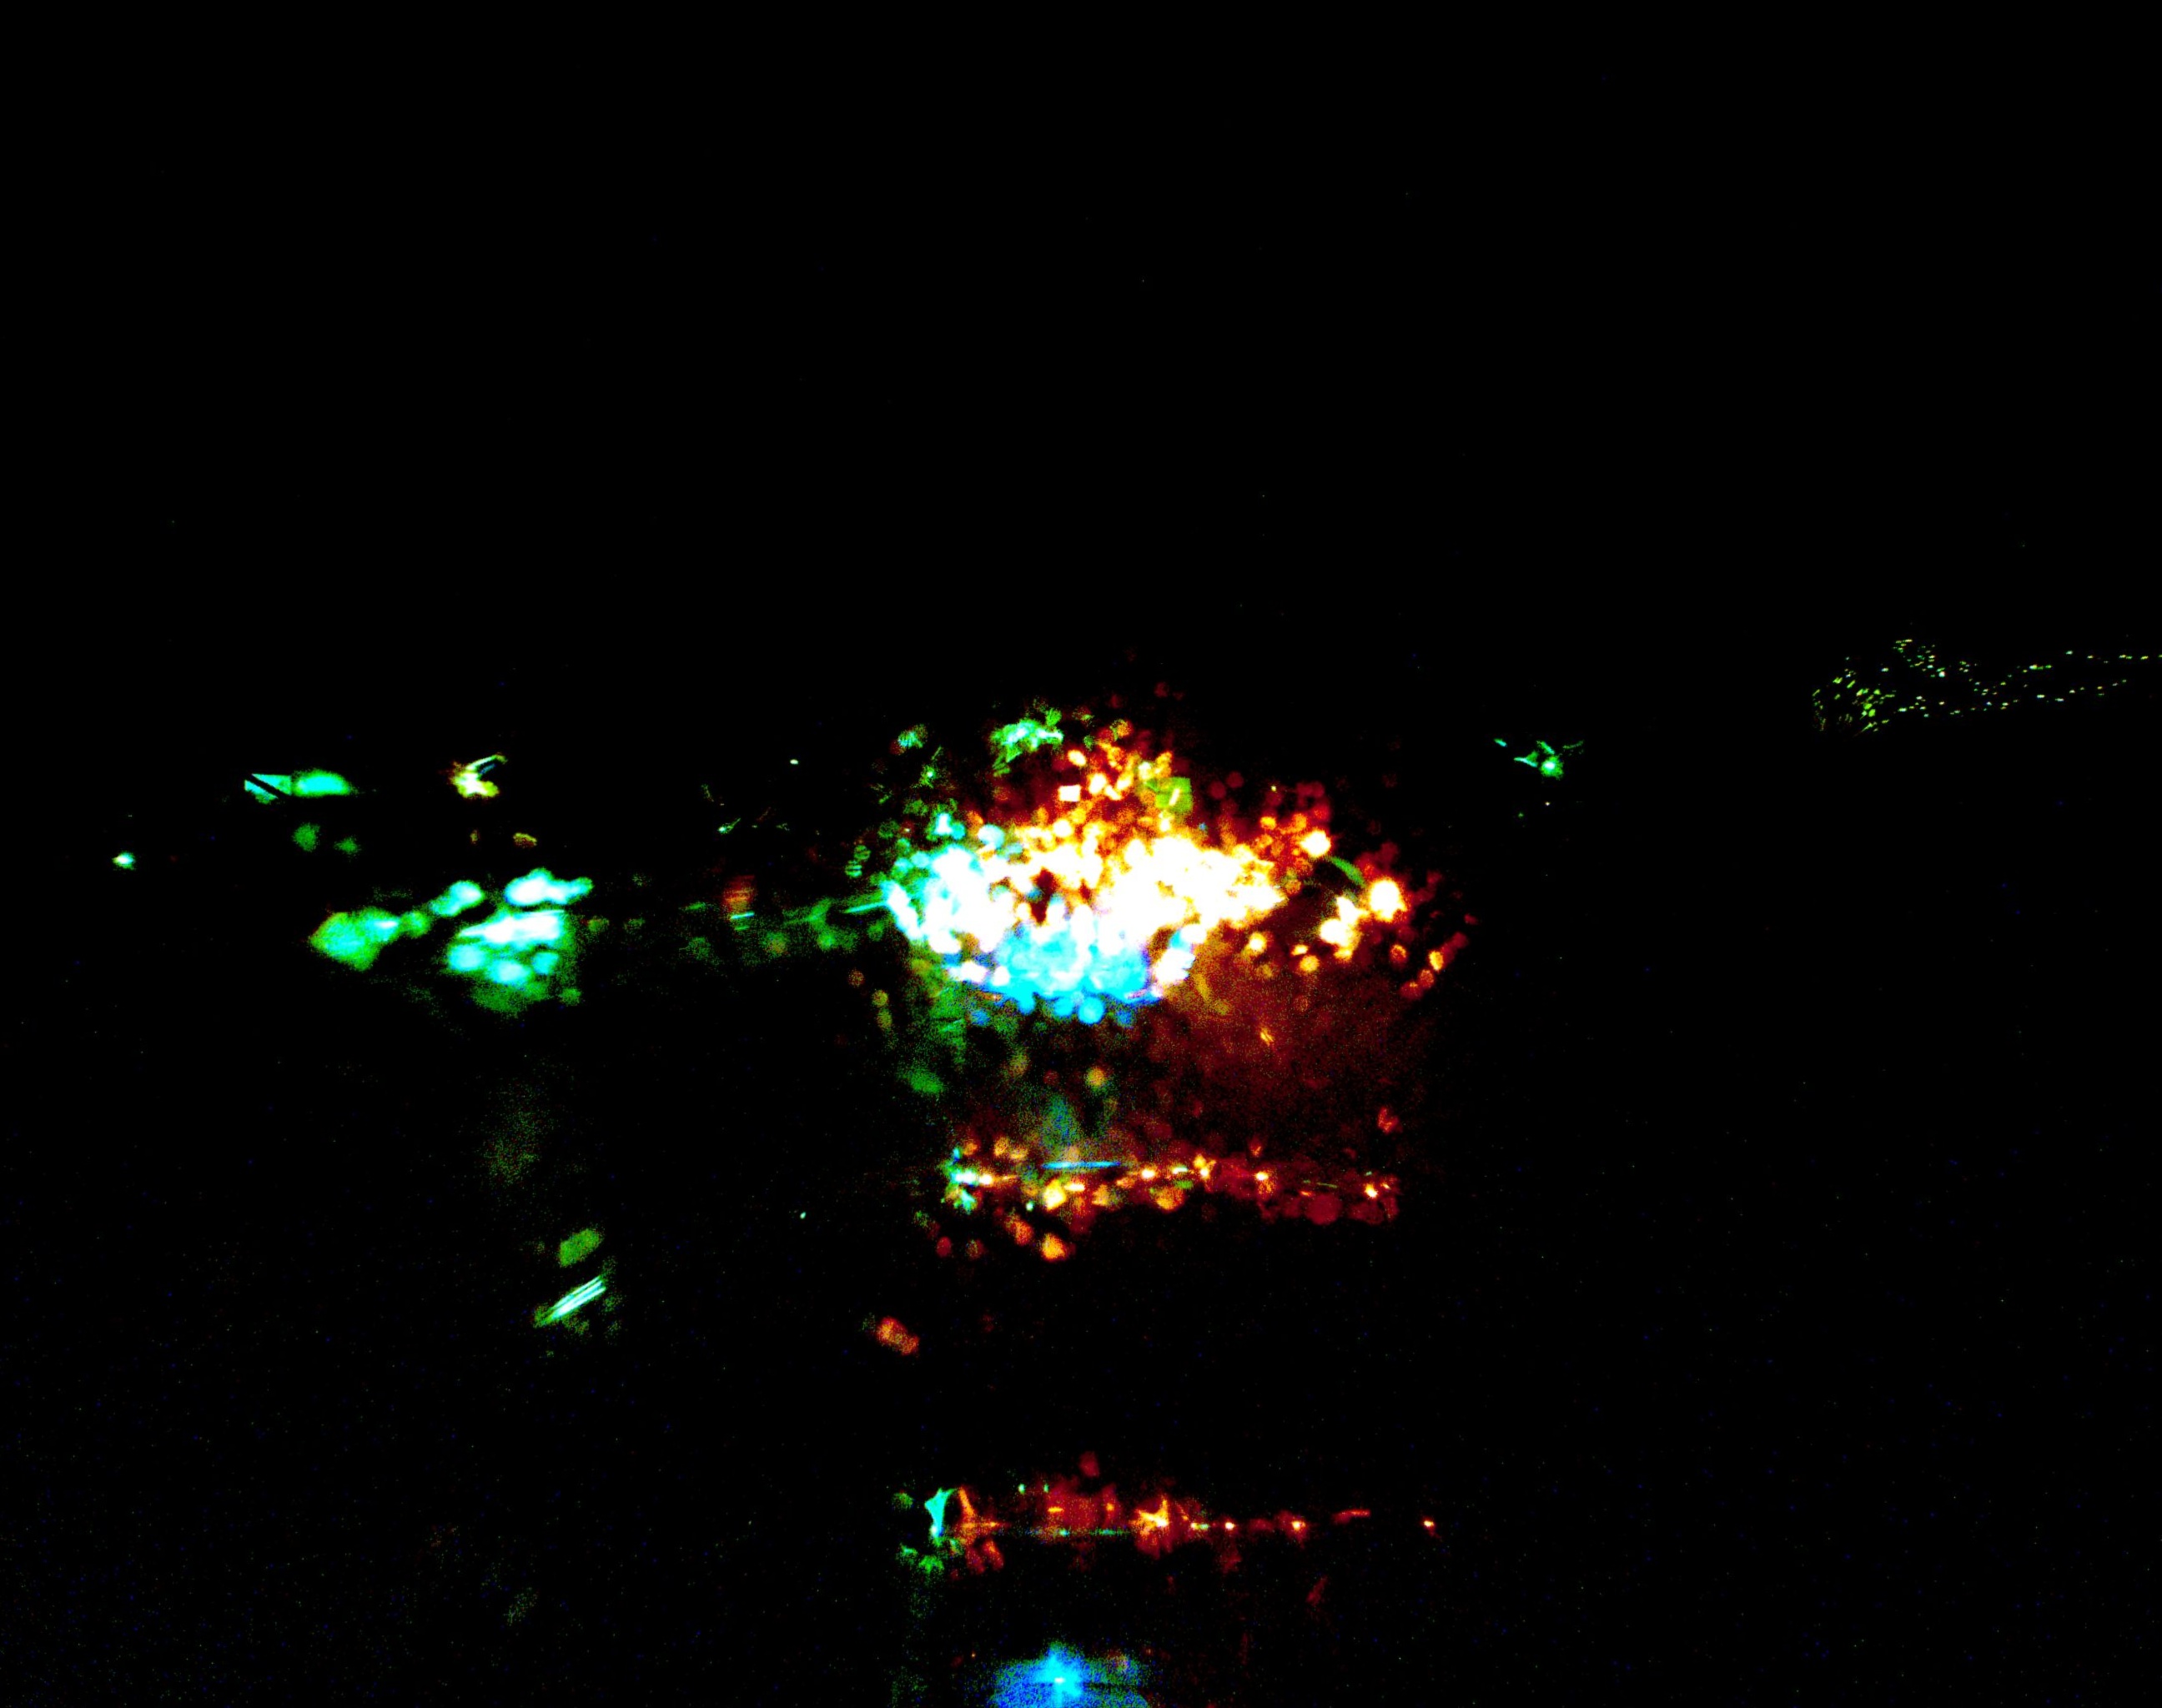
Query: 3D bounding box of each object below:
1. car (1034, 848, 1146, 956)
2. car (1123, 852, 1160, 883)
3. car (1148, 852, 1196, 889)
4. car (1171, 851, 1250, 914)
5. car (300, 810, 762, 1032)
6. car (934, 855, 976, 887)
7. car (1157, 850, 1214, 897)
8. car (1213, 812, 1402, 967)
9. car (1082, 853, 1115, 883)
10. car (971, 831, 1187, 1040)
[{"bbox_3d":[0.214,0.751,14.778,1.702,1.638,3.732,-2,0,2],"label":"car"},{"bbox_3d":[3.046,0.682,41.438,1.657,1.450,4.051,-1,-1,1],"label":"car"},{"bbox_3d":[3.813,0.649,34.604,1.657,1.450,4.051,-1,0,1],"label":"car"},{"bbox_3d":[3.293,0.667,21.372,1.759,1.450,4.224,-1,0,5],"label":"car"},{"bbox_3d":[-5.764,0.588,9.517,1.985,1.912,4.746,-1,0,2],"label":"car"},{"bbox_3d":[-6.125,0.800,39.928,1.717,1.442,3.733,-1,0,-5],"label":"car"},{"bbox_3d":[3.519,0.639,28.021,1.656,1.450,4.054,-2,-1,4],"label":"car"},{"bbox_3d":[3.268,0.452,12.631,1.934,1.972,4.222,-1,0,3],"label":"car"},{"bbox_3d":[1.026,0.787,48.970,1.704,1.638,3.728,-2,0,-2],"label":"car"},{"bbox_3d":[0.047,0.657,8.348,1.688,1.630,3.854,-1,-1,2],"label":"car"}]
